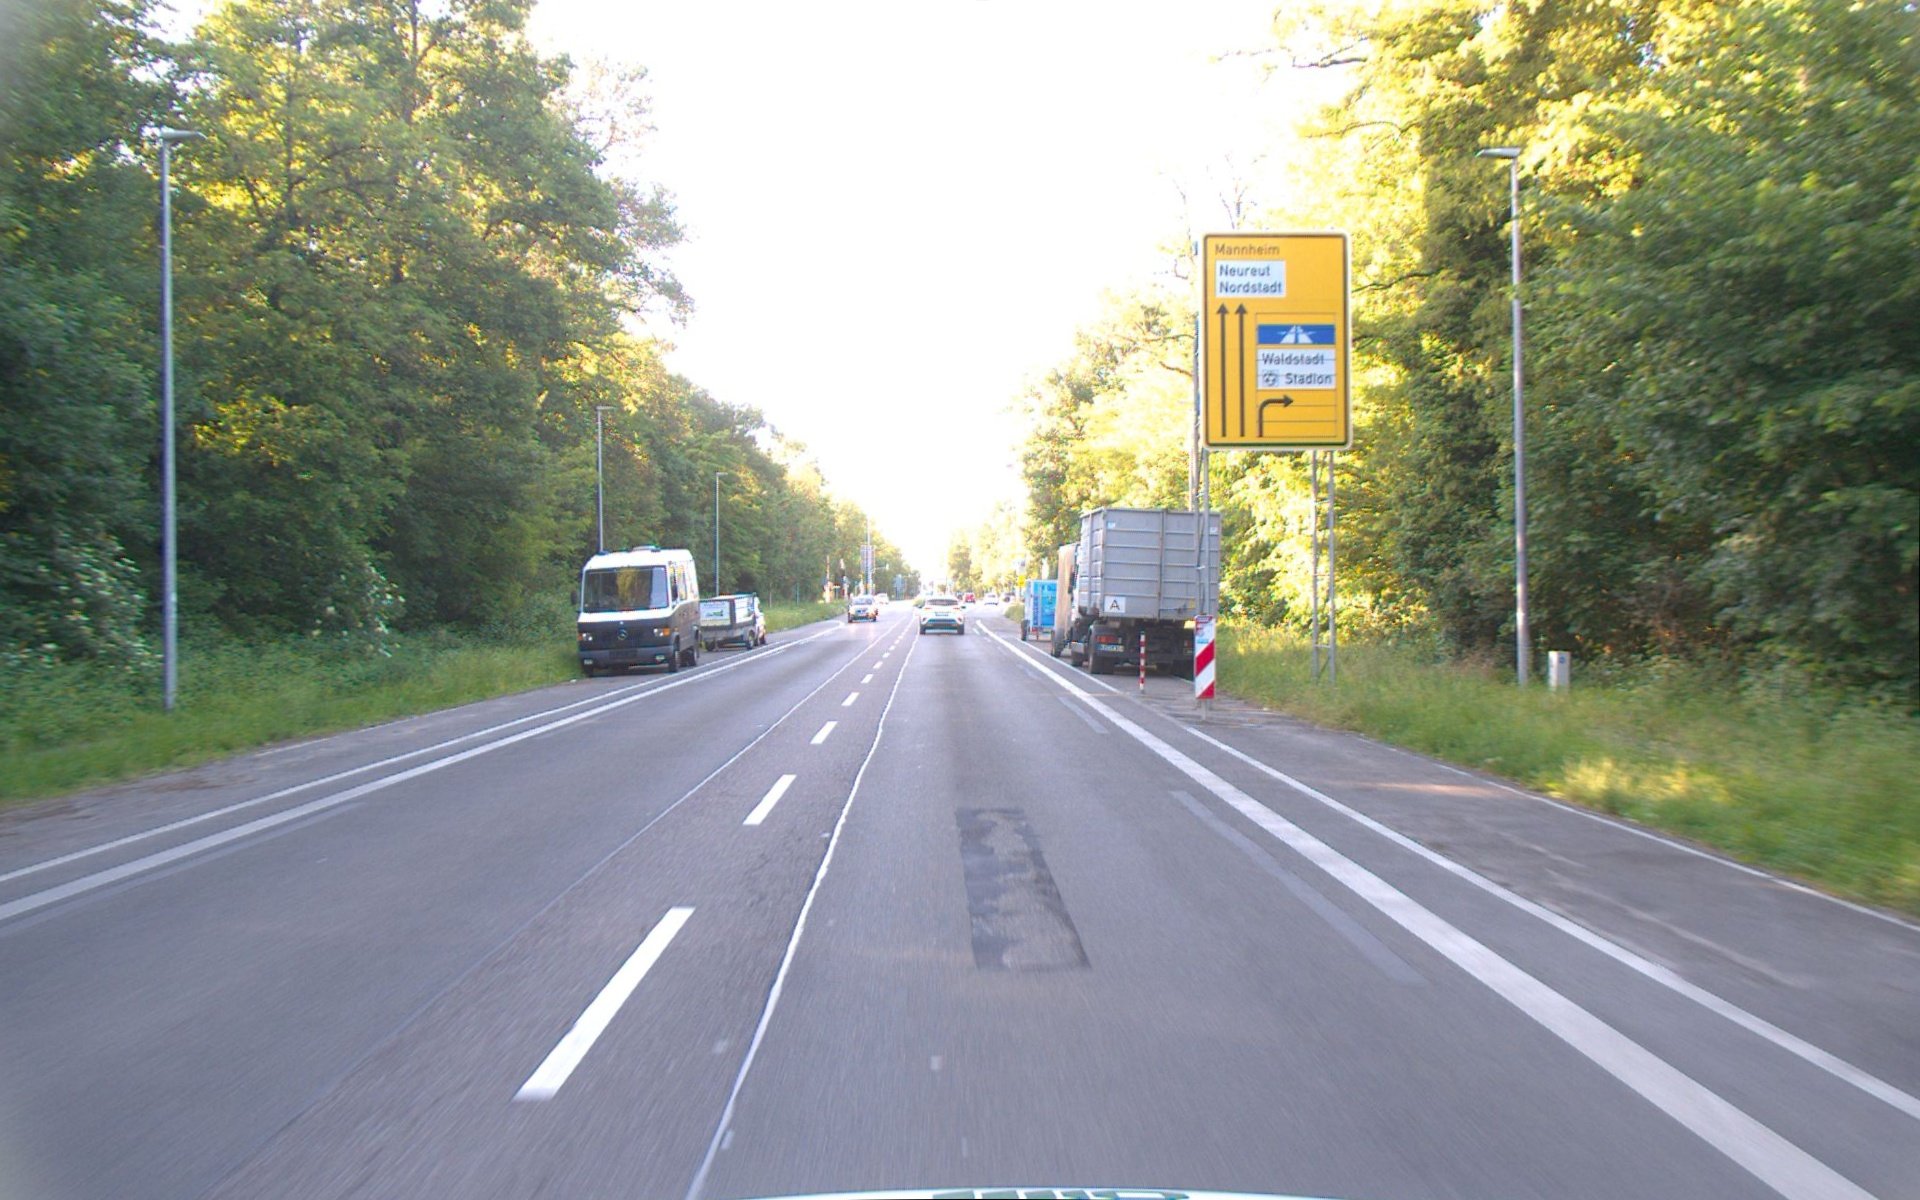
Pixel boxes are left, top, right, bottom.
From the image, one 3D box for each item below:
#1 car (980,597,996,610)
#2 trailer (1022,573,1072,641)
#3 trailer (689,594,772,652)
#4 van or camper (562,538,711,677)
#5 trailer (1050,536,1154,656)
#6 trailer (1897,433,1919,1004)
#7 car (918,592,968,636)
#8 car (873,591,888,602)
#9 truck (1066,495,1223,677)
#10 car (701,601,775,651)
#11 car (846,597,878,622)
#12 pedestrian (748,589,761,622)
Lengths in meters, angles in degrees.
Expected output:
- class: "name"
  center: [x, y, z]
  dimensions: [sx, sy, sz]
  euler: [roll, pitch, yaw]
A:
- class: "car"
  center: [3.614, 0.404, 212.817]
  dimensions: [1.953, 1.646, 4.000]
  euler: [1, 0, 0]
- class: "trailer"
  center: [3.023, 0.217, 58.192]
  dimensions: [1.469, 2.274, 4.549]
  euler: [1, 0, 0]
- class: "trailer"
  center: [-7.082, 0.694, 51.209]
  dimensions: [1.439, 1.688, 3.368]
  euler: [-2, -1, 12]
- class: "van or camper"
  center: [-7.293, 0.147, 37.907]
  dimensions: [2.255, 2.816, 5.556]
  euler: [-3, 0, -1]
- class: "trailer"
  center: [3.603, -0.105, 42.981]
  dimensions: [2.226, 2.894, 5.207]
  euler: [1, 0, 0]
- class: "trailer"
  center: [4.095, 0.447, 5.216]
  dimensions: [1.580, 2.149, 2.397]
  euler: [0, 0, 20]
- class: "car"
  center: [-0.706, 0.539, 66.821]
  dimensions: [1.953, 1.668, 3.999]
  euler: [-1, 0, -1]
- class: "car"
  center: [-11.050, -0.416, 229.089]
  dimensions: [1.953, 1.490, 3.999]
  euler: [1, 0, -1]
- class: "truck"
  center: [3.732, -0.258, 34.940]
  dimensions: [2.454, 3.425, 7.106]
  euler: [1, 0, 0]
- class: "car"
  center: [-7.380, 0.840, 55.306]
  dimensions: [1.830, 1.489, 4.132]
  euler: [-4, 0, 0]
- class: "car"
  center: [-5.764, 0.537, 97.201]
  dimensions: [1.644, 1.440, 4.000]
  euler: [-1, 0, 0]
- class: "pedestrian"
  center: [-12.777, 0.354, 103.014]
  dimensions: [0.679, 2.049, 0.712]
  euler: [1, 0, 0]
